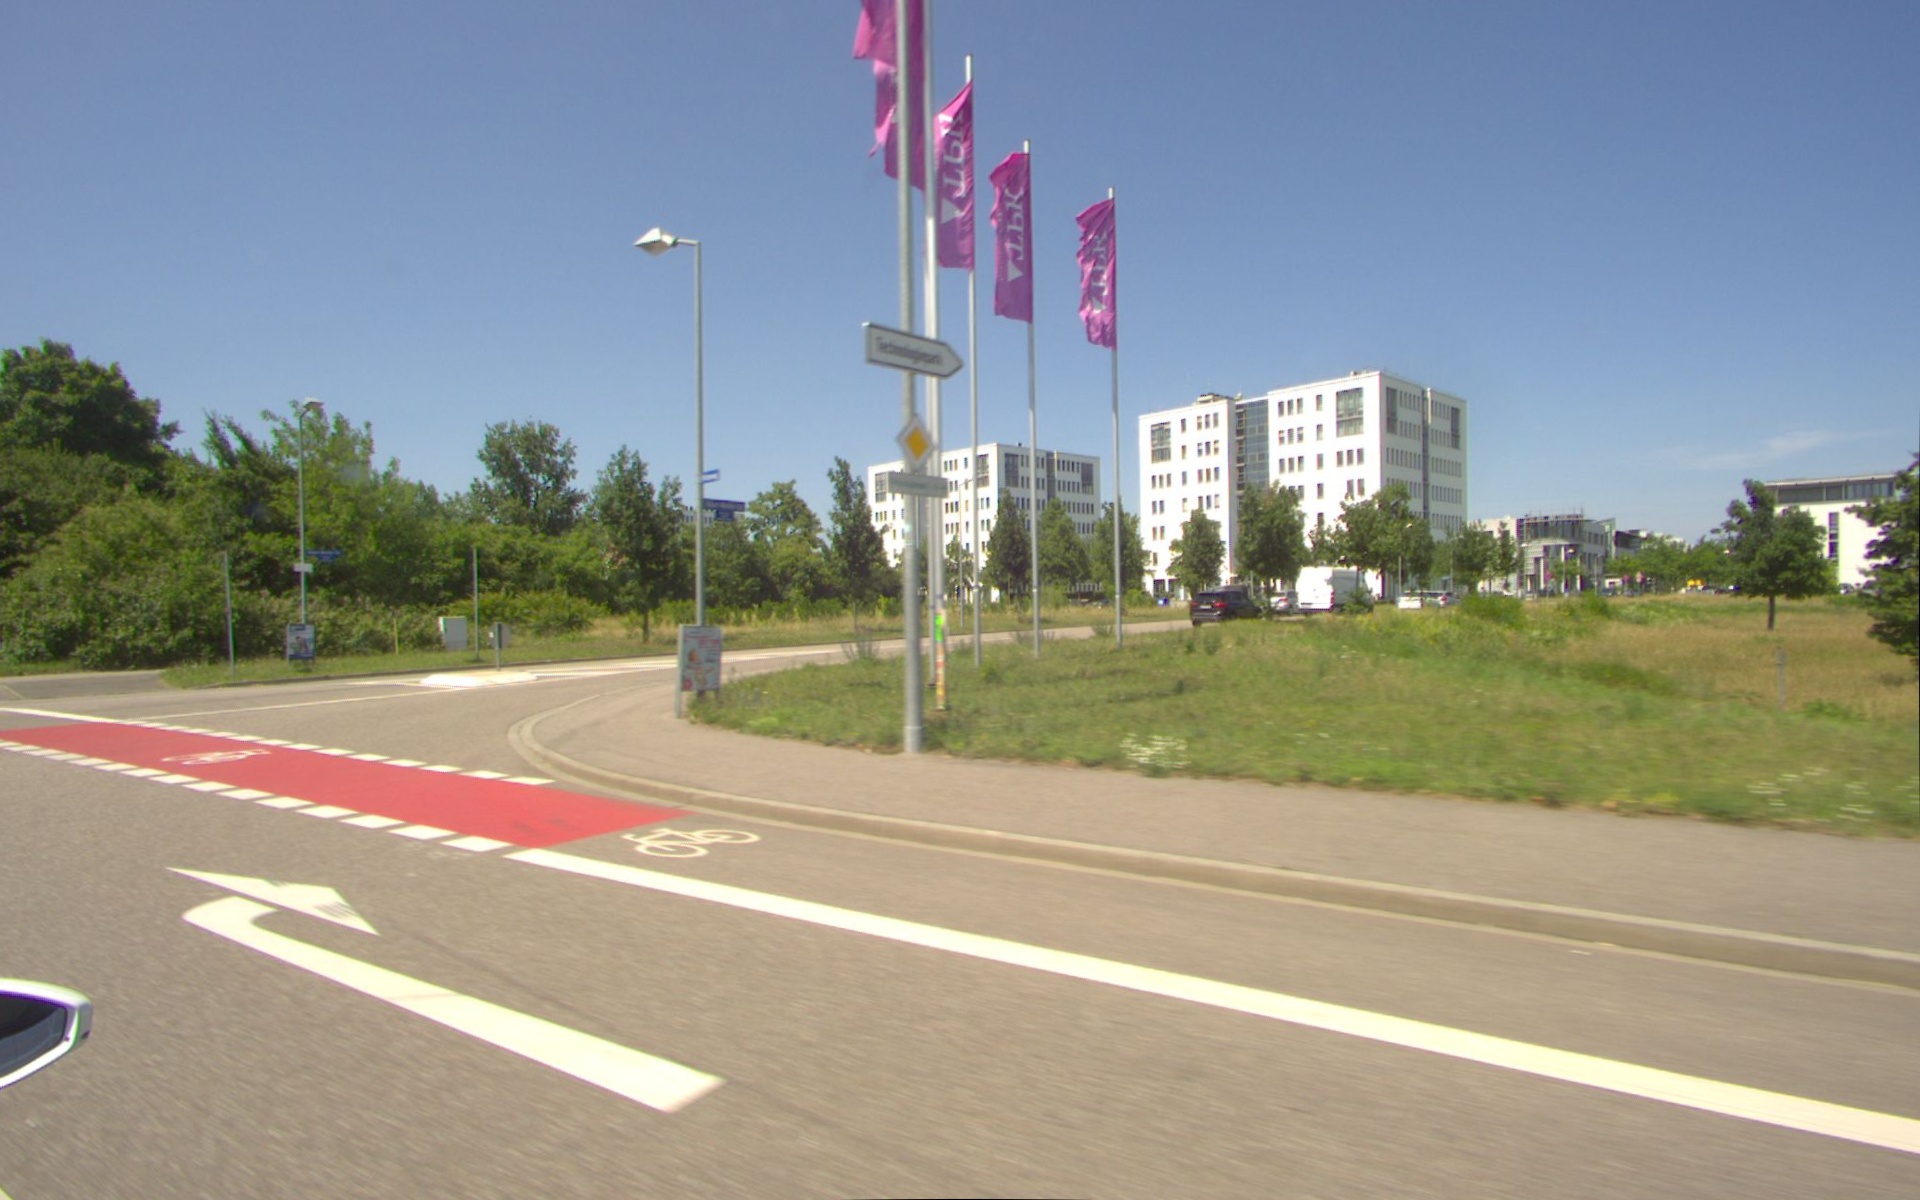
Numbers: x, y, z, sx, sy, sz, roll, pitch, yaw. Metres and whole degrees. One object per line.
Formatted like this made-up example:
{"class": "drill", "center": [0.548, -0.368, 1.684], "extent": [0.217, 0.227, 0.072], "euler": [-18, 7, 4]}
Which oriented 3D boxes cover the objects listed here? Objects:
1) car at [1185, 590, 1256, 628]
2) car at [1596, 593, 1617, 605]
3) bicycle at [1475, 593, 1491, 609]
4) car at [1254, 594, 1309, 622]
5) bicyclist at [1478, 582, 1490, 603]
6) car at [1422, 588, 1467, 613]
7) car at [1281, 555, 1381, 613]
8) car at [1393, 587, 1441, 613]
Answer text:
{"class": "car", "center": [11.242, 0.430, 43.093], "extent": [1.685, 1.552, 3.603], "euler": [0, -1, 38]}
{"class": "car", "center": [85.607, -0.124, 132.607], "extent": [1.687, 1.553, 3.596], "euler": [3, 1, 43]}
{"class": "bicycle", "center": [40.384, 0.039, 77.261], "extent": [0.607, 1.196, 1.948], "euler": [3, 3, 42]}
{"class": "car", "center": [18.533, 0.474, 57.612], "extent": [1.687, 1.552, 3.598], "euler": [-1, -2, 42]}
{"class": "bicyclist", "center": [40.415, -0.576, 77.271], "extent": [0.602, 1.646, 0.686], "euler": [3, 4, 43]}
{"class": "car", "center": [32.370, 0.049, 66.895], "extent": [1.688, 1.552, 3.596], "euler": [-1, -2, 43]}
{"class": "car", "center": [19.803, -0.771, 53.208], "extent": [2.639, 2.838, 6.795], "euler": [-2, -1, 42]}
{"class": "car", "center": [28.787, 0.040, 63.050], "extent": [1.688, 1.552, 3.596], "euler": [-1, -2, 43]}
